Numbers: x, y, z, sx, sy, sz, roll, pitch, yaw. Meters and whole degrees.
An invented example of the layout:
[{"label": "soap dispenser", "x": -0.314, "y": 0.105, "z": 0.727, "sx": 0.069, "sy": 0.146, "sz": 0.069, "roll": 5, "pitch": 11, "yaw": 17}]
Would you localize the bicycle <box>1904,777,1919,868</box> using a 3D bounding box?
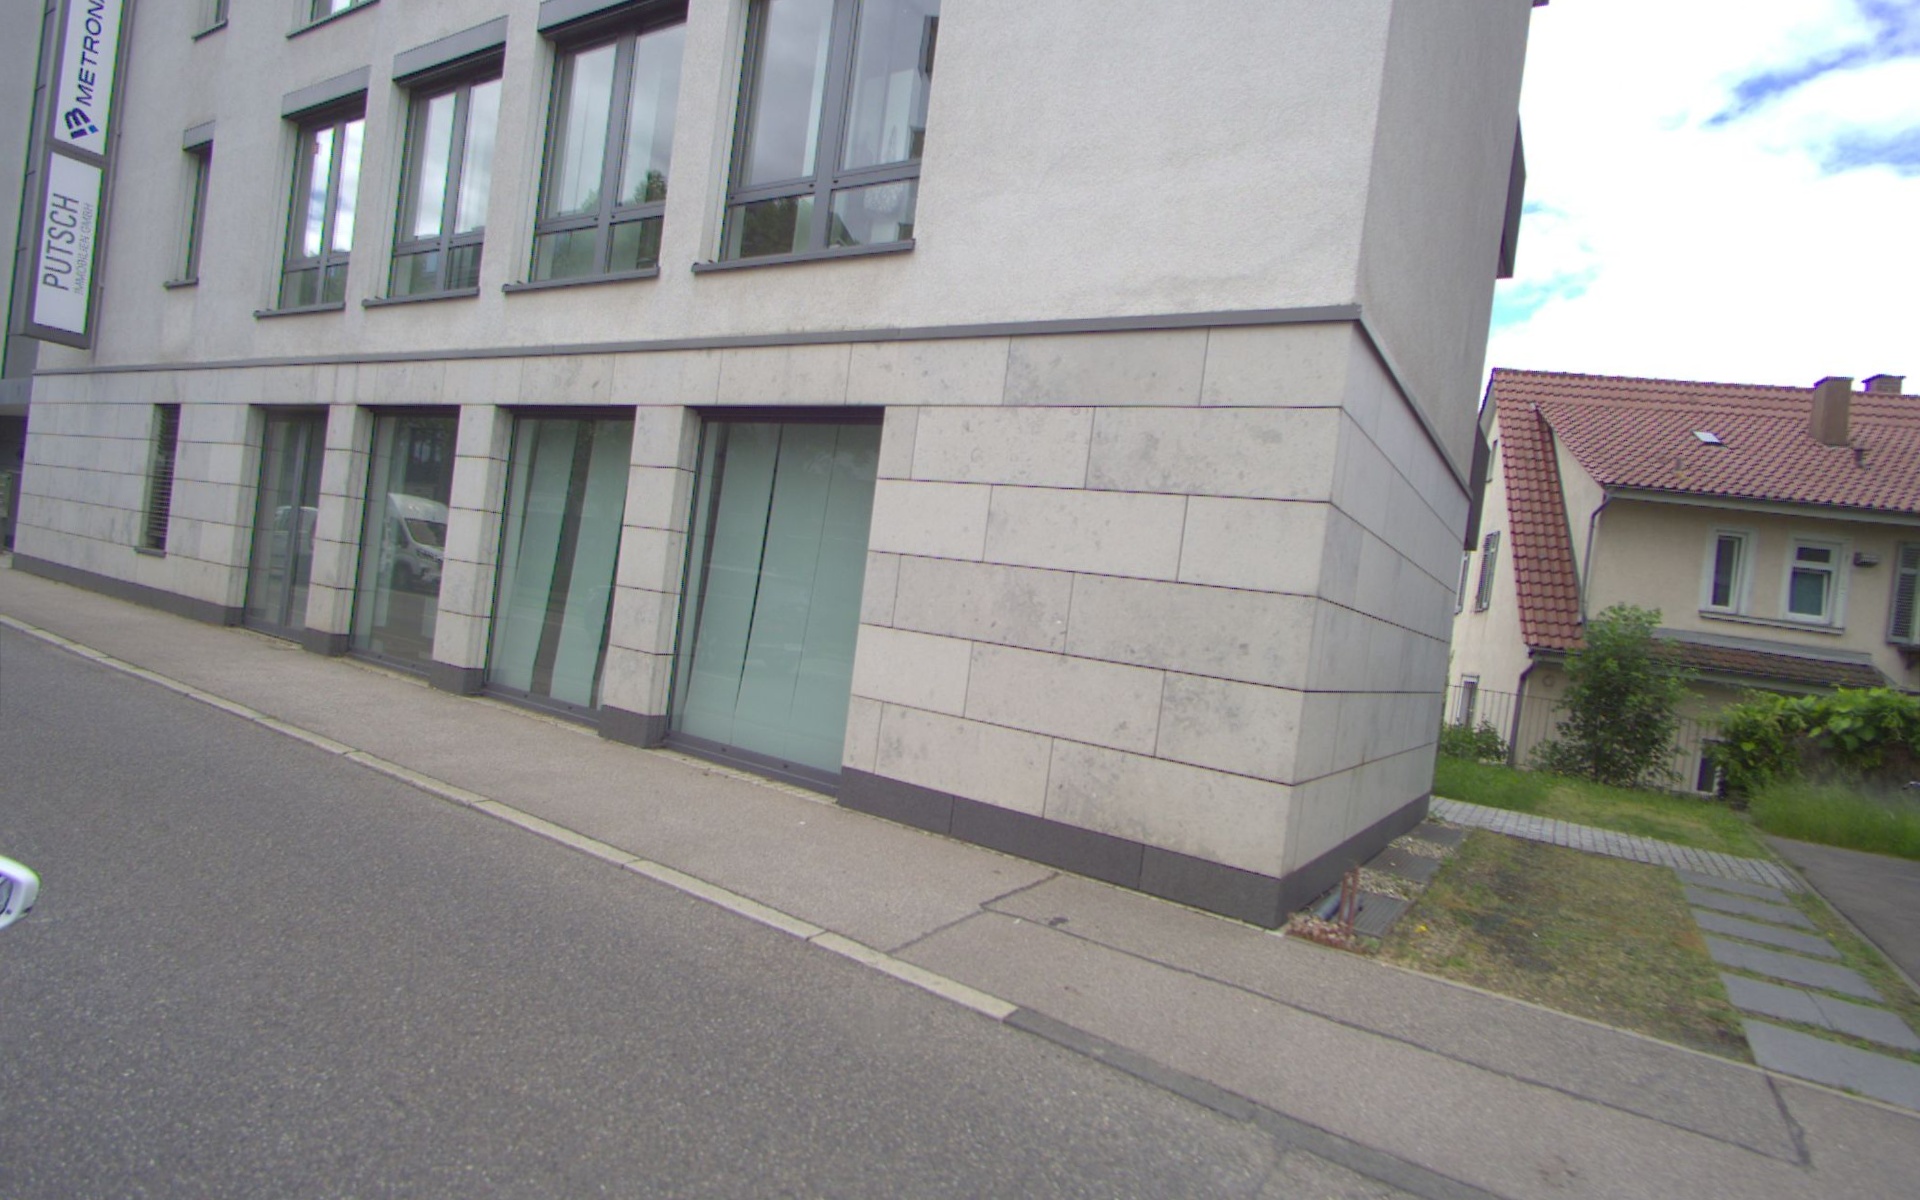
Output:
[{"label": "bicycle", "x": 10.837, "y": 2.511, "z": 10.947, "sx": 0.365, "sy": 0.986, "sz": 1.962, "roll": 7, "pitch": -1, "yaw": 33}]
